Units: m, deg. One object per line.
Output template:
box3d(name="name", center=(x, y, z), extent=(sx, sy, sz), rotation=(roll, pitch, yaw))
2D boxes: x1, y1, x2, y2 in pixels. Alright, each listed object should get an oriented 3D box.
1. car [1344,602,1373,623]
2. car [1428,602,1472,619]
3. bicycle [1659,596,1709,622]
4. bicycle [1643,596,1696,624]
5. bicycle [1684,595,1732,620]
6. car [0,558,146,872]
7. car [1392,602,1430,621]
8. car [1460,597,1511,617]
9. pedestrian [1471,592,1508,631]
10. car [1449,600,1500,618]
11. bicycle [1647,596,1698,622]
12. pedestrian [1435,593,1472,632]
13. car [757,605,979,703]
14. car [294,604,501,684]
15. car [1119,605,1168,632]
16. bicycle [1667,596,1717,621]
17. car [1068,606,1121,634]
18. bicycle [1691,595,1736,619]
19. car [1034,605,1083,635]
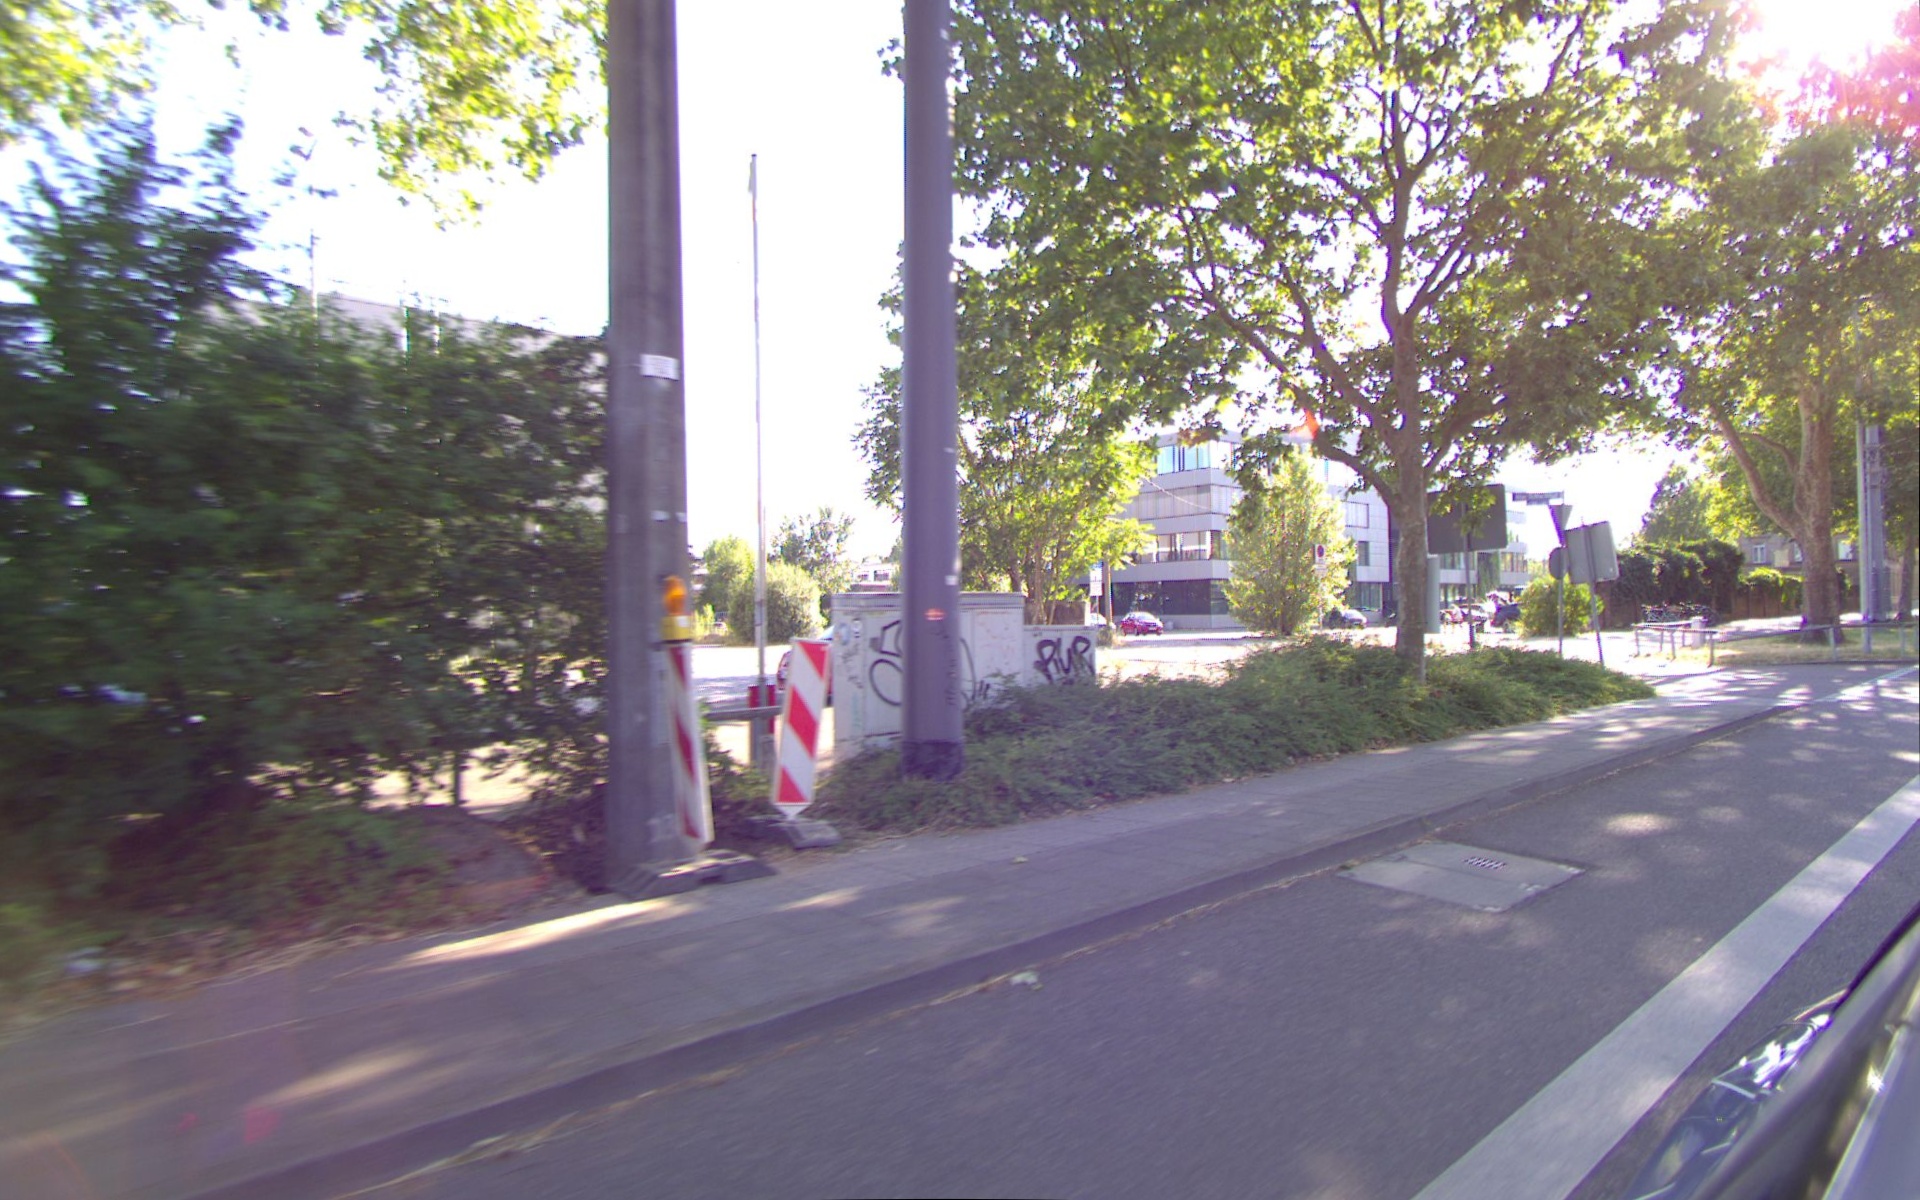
box3d(name="car", center=(32.176, 1.006, 81.777), extent=(1.626, 1.686, 3.649), rotation=(-1, -1, 15))
box3d(name="car", center=(46.924, 1.009, 96.981), extent=(1.616, 1.584, 3.672), rotation=(-1, -1, -22))
box3d(name="bicycle", center=(32.243, 0.390, 45.073), extent=(0.432, 1.134, 1.776), rotation=(0, 0, -41))
box3d(name="bicycle", center=(30.078, 0.415, 42.912), extent=(1.772, 1.134, 0.433), rotation=(0, 0, 43))
box3d(name="bicycle", center=(35.422, 0.355, 47.952), extent=(0.432, 1.134, 1.776), rotation=(0, 0, -41))
box3d(name="car", center=(-6.935, 0.699, 7.155), extent=(1.801, 1.787, 3.994), rotation=(-1, -1, -39))
box3d(name="car", center=(39.936, 1.013, 89.691), extent=(1.618, 1.541, 3.667), rotation=(-1, -1, -2))
box3d(name="car", center=(52.323, 0.707, 100.822), extent=(1.930, 1.839, 4.374), rotation=(-1, -1, -17))
box3d(name="pedestrian", center=(28.622, 0.624, 54.725), extent=(1.028, 2.039, 1.397), rotation=(-1, -2, -28))
box3d(name="car", center=(50.183, 0.877, 98.840), extent=(1.757, 1.667, 4.374), rotation=(-1, -1, -21))
box3d(name="bicycle", center=(31.465, 0.393, 44.697), extent=(0.432, 1.134, 1.776), rotation=(0, 0, -41))
box3d(name="pedestrian", center=(27.086, 0.691, 55.562), extent=(1.028, 2.039, 1.397), rotation=(-1, -2, -28))
box3d(name="car", center=(-1.594, 0.903, 18.211), extent=(3.736, 1.535, 1.617), rotation=(-1, -1, -41))
box3d(name="car", center=(-12.853, 0.948, 23.258), extent=(3.931, 1.630, 1.567), rotation=(-1, -1, -41))
box3d(name="car", center=(11.705, 1.192, 64.830), extent=(1.844, 1.632, 4.371), rotation=(-1, -1, -8))
box3d(name="bicycle", center=(33.193, 0.386, 45.896), extent=(0.432, 1.134, 1.776), rotation=(0, 0, -41))
box3d(name="car", center=(8.160, 1.206, 61.784), extent=(1.959, 1.609, 4.372), rotation=(-1, -1, -9))
box3d(name="bicycle", center=(36.212, 0.345, 48.640), extent=(0.432, 1.134, 1.690), rotation=(0, 0, -41))
box3d(name="car", center=(5.742, 1.148, 59.418), extent=(1.821, 1.632, 4.371), rotation=(-1, -1, -8))
